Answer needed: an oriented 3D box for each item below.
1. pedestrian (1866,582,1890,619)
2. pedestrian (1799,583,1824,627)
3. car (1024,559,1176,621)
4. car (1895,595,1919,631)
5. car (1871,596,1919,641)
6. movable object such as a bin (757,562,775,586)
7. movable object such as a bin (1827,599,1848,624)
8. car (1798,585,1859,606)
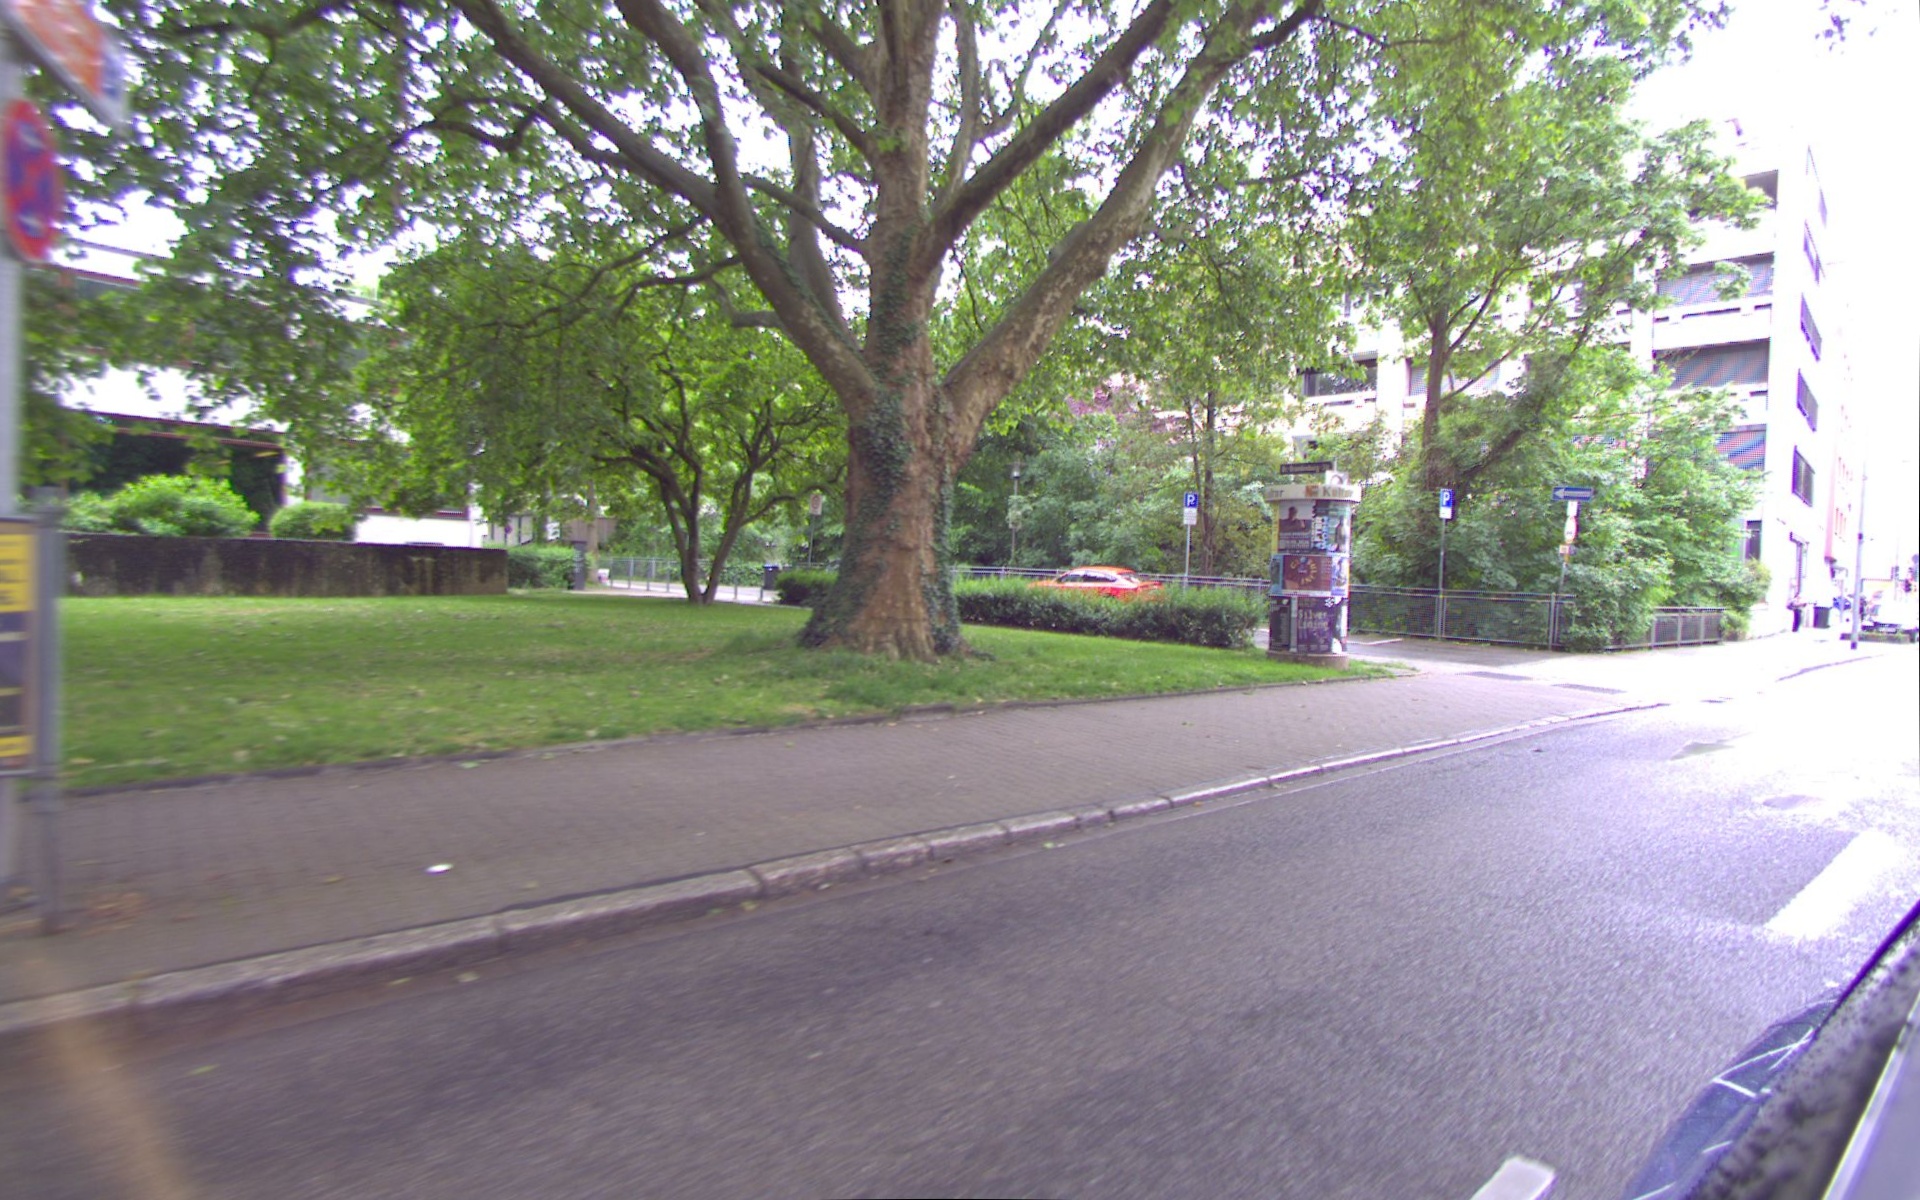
[{"bbox_3d":[55.759,0.024,61.464,0.797,2.179,0.732,2,1,26],"label":"pedestrian"},{"bbox_3d":[33.866,0.192,40.265,0.598,1.679,0.681,7,4,42],"label":"pedestrian"},{"bbox_3d":[3.943,-0.346,28.906,3.989,1.499,1.847,5,4,44],"label":"car"},{"bbox_3d":[41.570,0.586,43.337,4.493,1.437,1.834,0,3,-43],"label":"car"},{"bbox_3d":[36.705,0.695,39.214,3.741,1.577,1.705,0,4,-43],"label":"car"},{"bbox_3d":[-8.113,-1.086,42.366,0.573,0.986,0.512,0,0,-41],"label":"movable object such as a bin"},{"bbox_3d":[41.165,0.536,47.475,0.505,1.117,0.680,1,2,-43],"label":"movable object such as a bin"},{"bbox_3d":[78.888,-0.452,91.985,1.801,1.732,3.801,1,2,-21],"label":"car"}]
